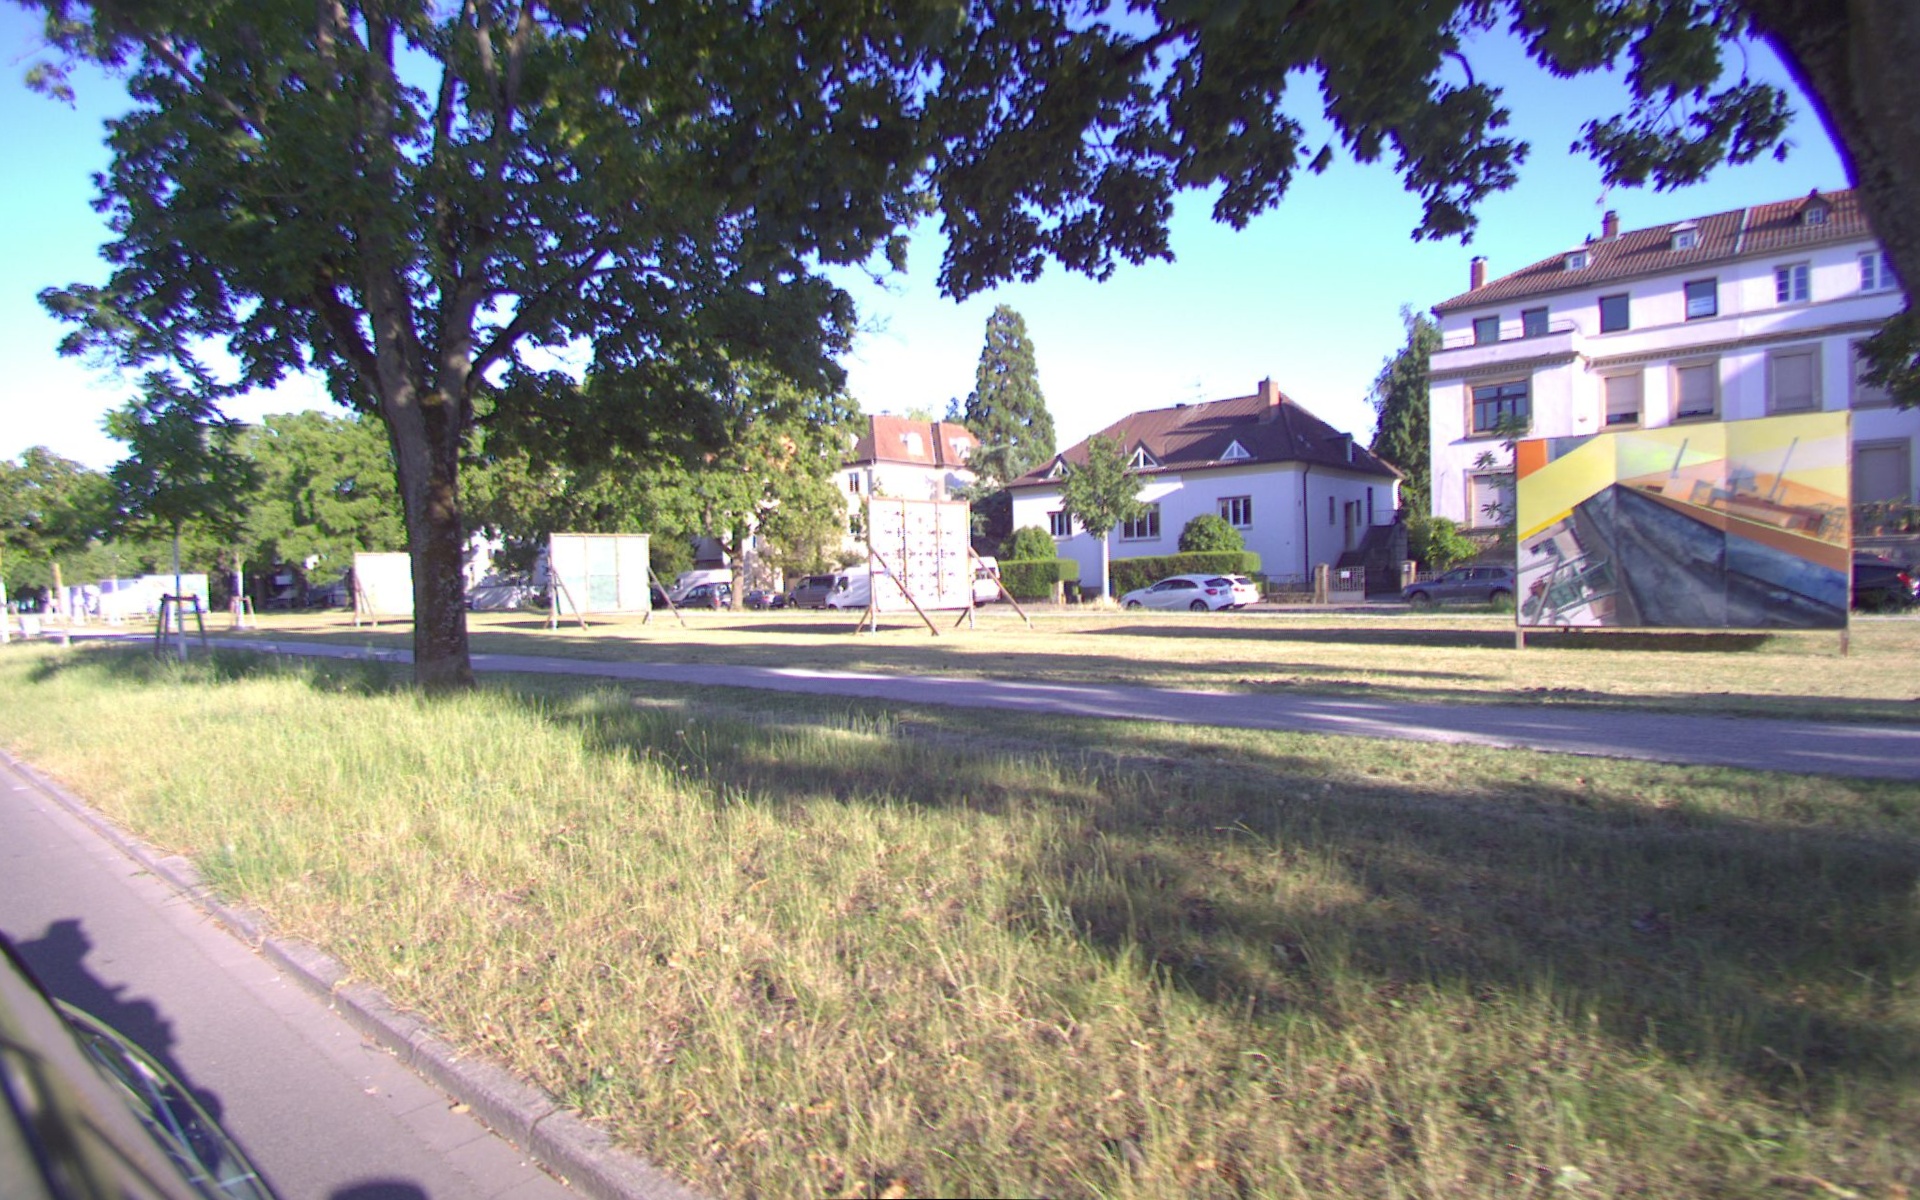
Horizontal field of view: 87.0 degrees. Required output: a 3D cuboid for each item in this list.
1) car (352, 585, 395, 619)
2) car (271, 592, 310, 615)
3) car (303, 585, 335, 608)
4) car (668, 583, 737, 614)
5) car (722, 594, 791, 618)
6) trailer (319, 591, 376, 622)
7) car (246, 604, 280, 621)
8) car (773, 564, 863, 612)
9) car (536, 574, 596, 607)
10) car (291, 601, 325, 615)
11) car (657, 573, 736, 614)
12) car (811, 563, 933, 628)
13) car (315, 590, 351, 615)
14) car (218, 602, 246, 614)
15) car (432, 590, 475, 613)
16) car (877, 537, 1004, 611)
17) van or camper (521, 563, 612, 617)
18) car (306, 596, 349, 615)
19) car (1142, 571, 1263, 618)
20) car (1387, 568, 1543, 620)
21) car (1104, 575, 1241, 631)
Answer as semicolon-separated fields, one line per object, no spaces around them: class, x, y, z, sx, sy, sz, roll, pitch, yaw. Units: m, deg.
car;-60.442;0.253;104.247;6.071;3.274;1.973;-2;0;41
car;-68.759;0.357;103.919;4.566;2.191;1.974;-2;0;39
car;-73.045;-0.381;115.335;3.998;2.560;1.973;1;2;41
car;-14.208;-0.063;55.660;4.306;1.575;1.400;-1;1;40
car;-12.656;0.376;62.830;4.564;1.413;1.971;0;-2;45
trailer;-56.230;0.568;92.874;6.632;2.679;2.448;0;-2;41
car;-76.225;1.357;110.603;4.341;1.742;1.973;-2;0;40
car;-8.268;-0.647;58.731;5.321;2.624;2.114;0;-2;40
car;-25.810;-0.597;66.235;3.999;2.029;1.973;-2;1;42
car;-64.565;0.773;100.193;4.043;1.325;1.833;-1;2;44
car;-17.684;-0.399;67.634;6.087;2.617;1.973;0;-2;41
car;-4.160;-0.180;47.305;5.869;2.847;2.236;0;-2;42
car;-69.453;0.246;112.087;5.042;2.660;1.925;0;-2;41
car;-100.044;1.138;139.122;3.993;1.510;1.975;-2;0;37
car;-45.964;0.183;91.830;4.712;1.926;1.870;-2;1;42
car;-1.098;-1.256;52.236;6.762;3.586;2.279;0;-2;41
van or camper;-25.810;-0.597;66.235;6.902;3.287;2.614;-2;1;42
car;-60.551;0.532;96.807;4.947;1.654;1.974;-1;2;40
car;10.164;-0.211;42.694;4.712;1.868;1.712;0;-2;41
car;17.833;-0.189;35.861;4.665;1.715;1.763;0;-2;41
car;7.734;0.129;37.168;4.642;1.914;1.814;0;-2;42
